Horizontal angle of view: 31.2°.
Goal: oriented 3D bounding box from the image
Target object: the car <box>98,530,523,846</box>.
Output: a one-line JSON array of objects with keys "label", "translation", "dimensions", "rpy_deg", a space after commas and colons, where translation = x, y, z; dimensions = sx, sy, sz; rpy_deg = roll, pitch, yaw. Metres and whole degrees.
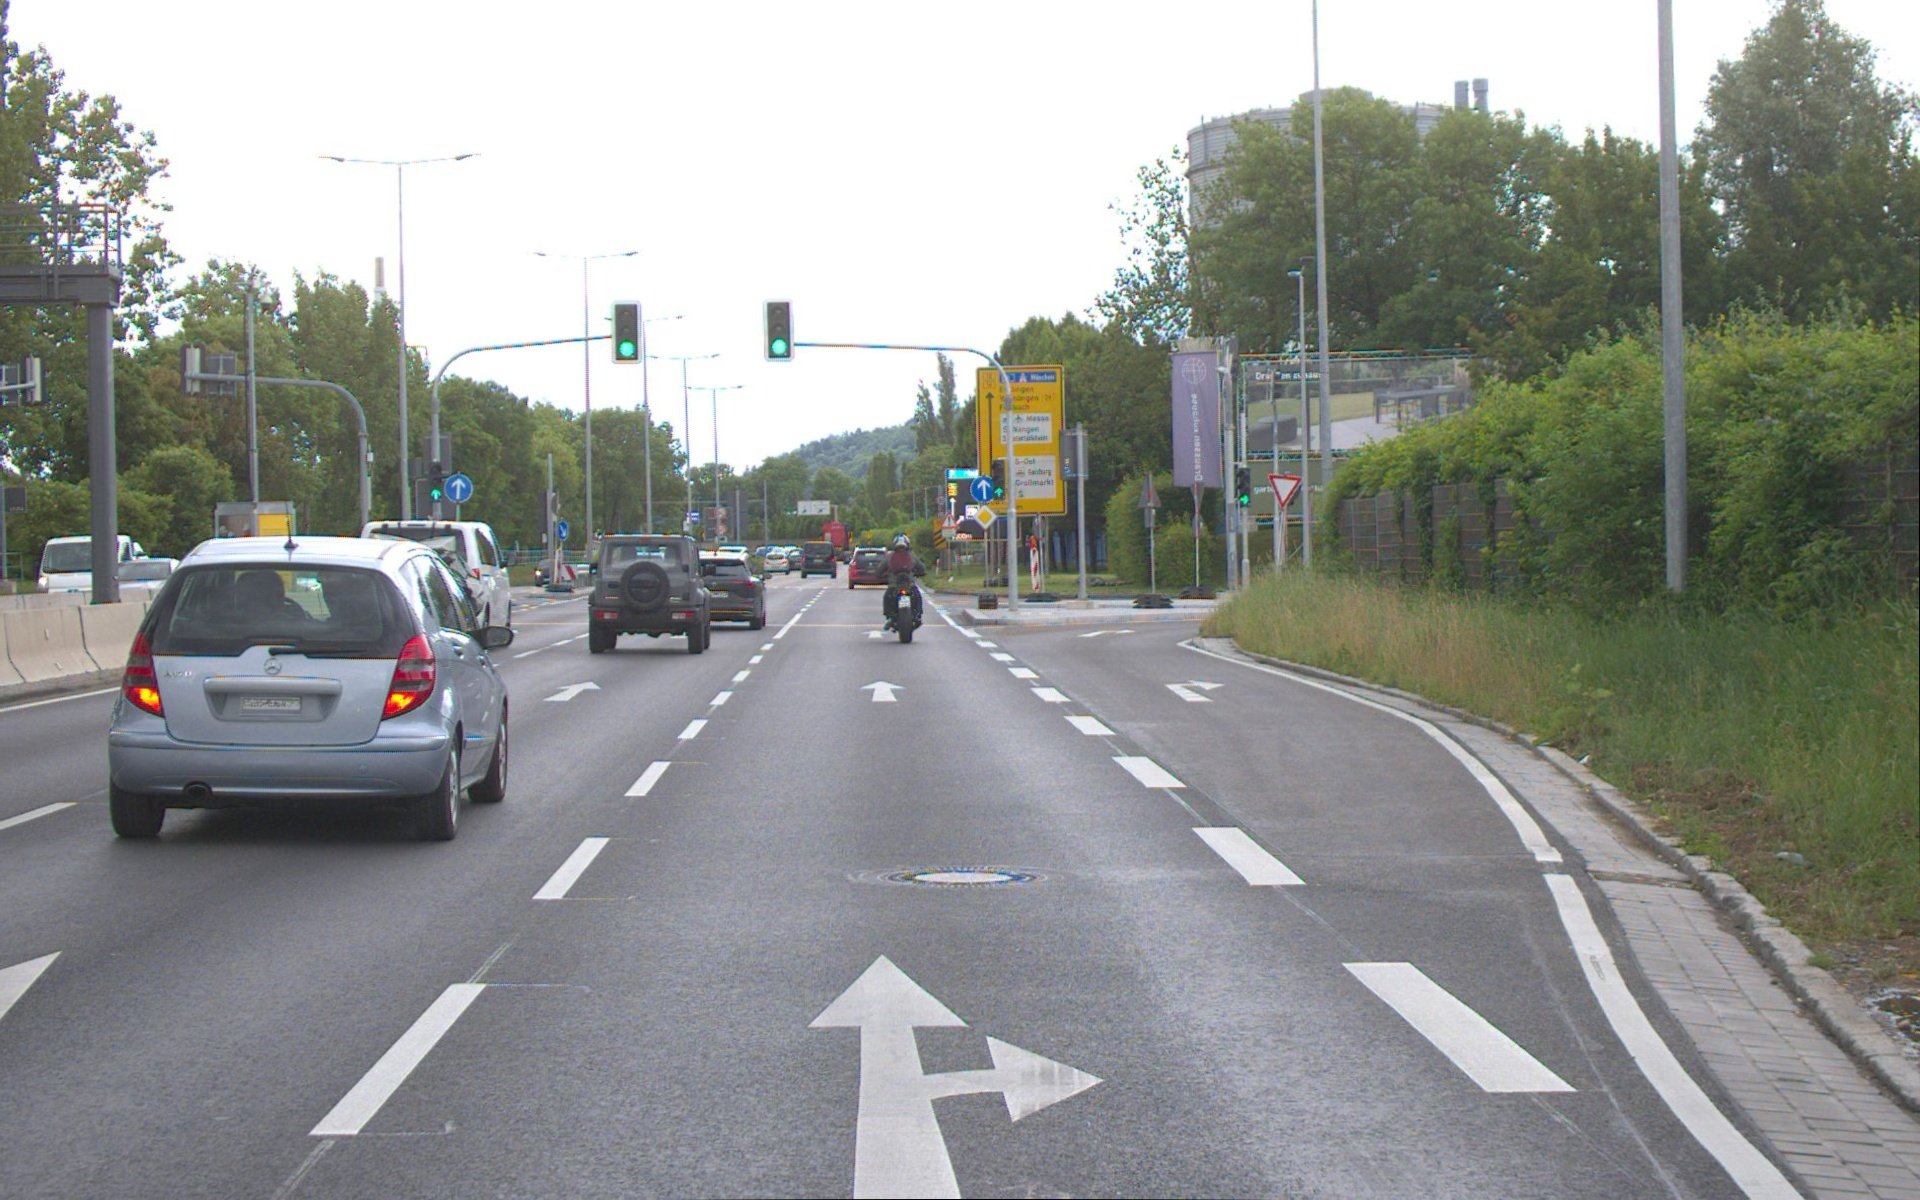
[{"label": "car", "translation": [-3.479, 0.400, 19.073], "dimensions": [1.710, 1.525, 4.001], "rpy_deg": [1, 1, -2]}]

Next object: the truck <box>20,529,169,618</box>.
[{"label": "truck", "translation": [-21.080, -0.687, 83.989], "dimensions": [2.204, 2.007, 6.303], "rpy_deg": [1, 1, -2]}]

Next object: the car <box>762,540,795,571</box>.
[{"label": "car", "translation": [-12.124, -2.990, 229.634], "dimensions": [1.993, 2.007, 4.000], "rpy_deg": [1, 1, -1]}]

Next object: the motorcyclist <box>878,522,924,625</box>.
[{"label": "motorcyclist", "translation": [-0.925, -0.420, 54.227], "dimensions": [0.685, 1.604, 0.845], "rpy_deg": [1, 1, 0]}]

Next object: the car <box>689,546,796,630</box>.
[{"label": "car", "translation": [-4.052, -0.256, 64.495], "dimensions": [1.840, 1.459, 4.001], "rpy_deg": [1, 1, -2]}]

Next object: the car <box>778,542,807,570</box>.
[{"label": "car", "translation": [-12.498, -3.279, 256.816], "dimensions": [1.993, 2.007, 4.000], "rpy_deg": [1, 1, -1]}]

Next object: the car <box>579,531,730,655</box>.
[{"label": "car", "translation": [-4.410, -0.136, 50.150], "dimensions": [1.907, 1.678, 4.000], "rpy_deg": [1, 1, -1]}]

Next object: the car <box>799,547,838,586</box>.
[{"label": "car", "translation": [-7.710, -1.848, 187.692], "dimensions": [1.993, 2.007, 4.000], "rpy_deg": [1, 1, -1]}]

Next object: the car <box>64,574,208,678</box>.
[{"label": "car", "translation": [-17.354, 0.517, 72.616], "dimensions": [1.993, 2.007, 4.682], "rpy_deg": [1, 1, -2]}]

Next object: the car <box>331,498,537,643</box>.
[{"label": "car", "translation": [-7.411, -0.456, 48.949], "dimensions": [2.214, 1.919, 5.003], "rpy_deg": [1, 1, -1]}]

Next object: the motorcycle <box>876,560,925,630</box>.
[{"label": "motorcycle", "translation": [-0.936, -0.087, 54.161], "dimensions": [0.706, 1.036, 2.027], "rpy_deg": [1, 1, 0]}]

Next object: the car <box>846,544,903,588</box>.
[{"label": "car", "translation": [-3.189, -1.273, 127.222], "dimensions": [1.993, 1.546, 4.001], "rpy_deg": [1, 1, -3]}]
